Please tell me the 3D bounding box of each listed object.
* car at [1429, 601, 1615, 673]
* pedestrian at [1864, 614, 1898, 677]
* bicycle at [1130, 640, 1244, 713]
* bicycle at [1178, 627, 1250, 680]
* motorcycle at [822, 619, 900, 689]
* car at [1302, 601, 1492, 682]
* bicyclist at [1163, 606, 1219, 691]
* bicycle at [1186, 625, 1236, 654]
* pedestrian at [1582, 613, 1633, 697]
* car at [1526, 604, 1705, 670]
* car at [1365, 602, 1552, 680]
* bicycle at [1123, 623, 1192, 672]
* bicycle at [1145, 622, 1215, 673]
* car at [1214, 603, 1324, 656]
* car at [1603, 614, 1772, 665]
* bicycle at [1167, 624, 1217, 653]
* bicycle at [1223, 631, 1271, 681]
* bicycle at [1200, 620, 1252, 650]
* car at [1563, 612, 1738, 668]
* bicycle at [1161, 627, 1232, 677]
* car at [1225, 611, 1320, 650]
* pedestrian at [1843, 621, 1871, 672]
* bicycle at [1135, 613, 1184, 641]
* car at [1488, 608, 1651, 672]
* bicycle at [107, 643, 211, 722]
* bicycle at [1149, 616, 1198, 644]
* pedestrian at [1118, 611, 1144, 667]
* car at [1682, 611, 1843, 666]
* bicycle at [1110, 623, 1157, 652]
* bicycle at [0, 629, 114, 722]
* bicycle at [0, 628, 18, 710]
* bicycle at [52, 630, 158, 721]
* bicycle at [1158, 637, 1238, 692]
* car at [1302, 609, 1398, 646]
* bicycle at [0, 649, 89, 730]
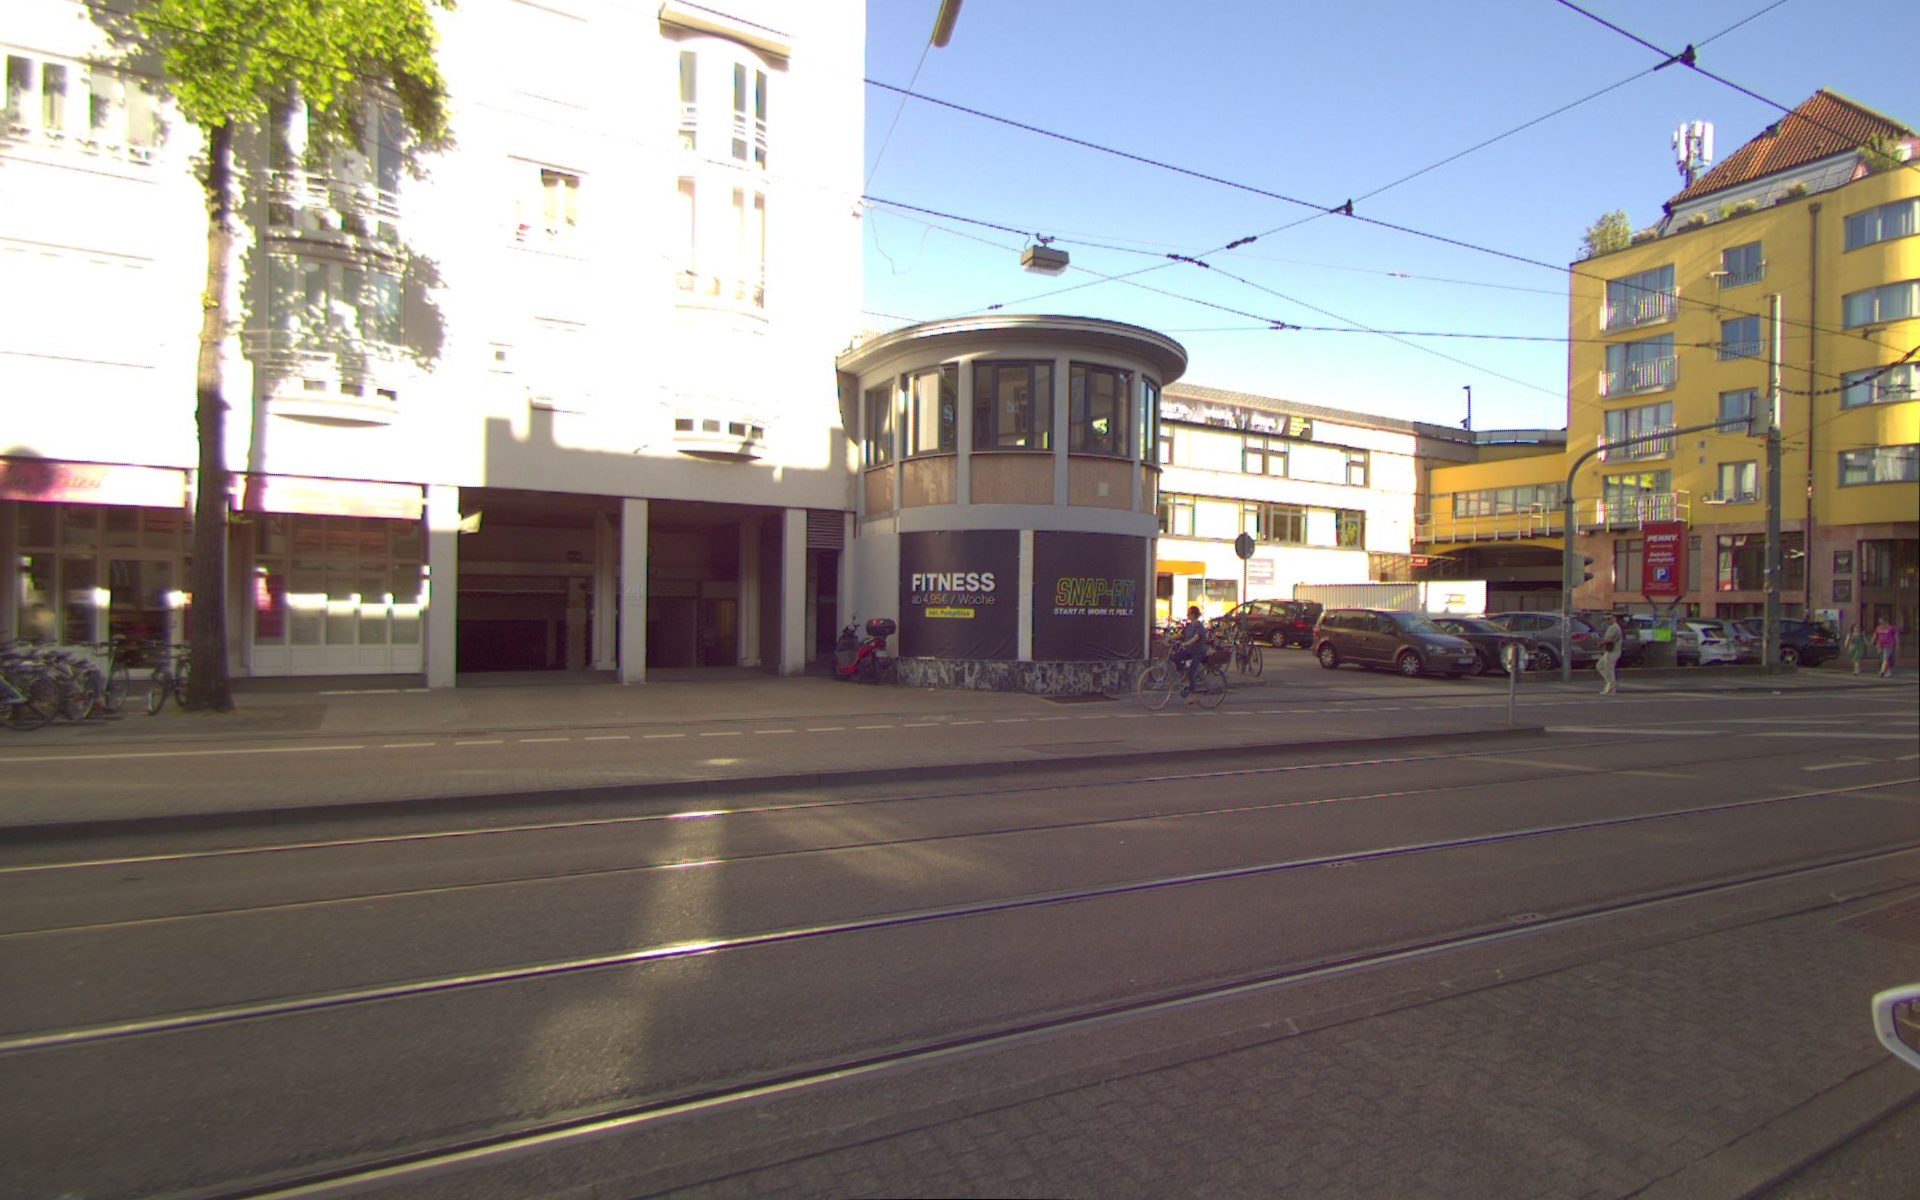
[{"bbox_3d":[15.465,0.956,27.863,1.764,1.836,4.214,1,-1,-29],"label":"car"},{"bbox_3d":[29.297,1.431,31.954,0.701,1.972,0.634,1,0,-31],"label":"pedestrian"},{"bbox_3d":[3.807,1.252,16.786,1.979,1.138,0.561,1,0,-29],"label":"bicycle"},{"bbox_3d":[5.506,1.137,21.741,1.862,1.094,0.460,1,0,-38],"label":"bicycle"},{"bbox_3d":[-1.980,1.034,19.898,0.668,1.280,1.969,0,0,-35],"label":"motorcycle"},{"bbox_3d":[11.018,0.982,25.639,1.764,1.787,4.214,1,1,-29],"label":"car"},{"bbox_3d":[3.868,0.801,16.816,0.710,1.379,0.560,1,0,-29],"label":"bicyclist"},{"bbox_3d":[9.040,1.406,36.158,2.040,1.028,0.510,1,-1,-33],"label":"bicycle"},{"bbox_3d":[14.264,1.191,22.122,0.773,1.787,0.708,1,-1,-37],"label":"pedestrian"},{"bbox_3d":[19.795,1.109,30.516,1.764,1.835,4.214,3,-2,-29],"label":"car"},{"bbox_3d":[13.125,1.009,26.720,1.764,1.836,4.214,1,0,-29],"label":"car"},{"bbox_3d":[4.596,1.083,23.311,1.862,1.091,0.460,1,0,-38],"label":"bicycle"},{"bbox_3d":[5.010,1.055,22.788,1.862,1.102,0.460,1,0,-38],"label":"bicycle"},{"bbox_3d":[11.013,1.022,36.044,1.677,1.772,3.559,1,0,-31],"label":"car"},{"bbox_3d":[24.118,1.293,33.460,1.764,1.568,4.214,3,-2,-29],"label":"car"},{"bbox_3d":[8.571,1.417,37.067,2.040,1.028,0.501,1,-1,-33],"label":"bicycle"},{"bbox_3d":[6.587,1.265,23.113,0.417,1.050,1.878,1,0,-5],"label":"bicycle"},{"bbox_3d":[9.316,1.220,35.145,2.040,1.028,0.506,1,0,-33],"label":"bicycle"},{"bbox_3d":[21.666,1.208,31.702,1.764,1.631,4.214,1,-1,-29],"label":"car"},{"bbox_3d":[5.255,1.128,22.253,1.862,1.050,0.460,1,0,-38],"label":"bicycle"},{"bbox_3d":[12.956,1.251,41.814,1.609,1.501,3.618,1,-1,-31],"label":"car"},{"bbox_3d":[29.193,1.502,32.697,0.493,1.639,0.569,1,0,-31],"label":"pedestrian"},{"bbox_3d":[7.679,1.034,38.609,2.040,1.028,0.501,1,0,-33],"label":"bicycle"},{"bbox_3d":[17.695,1.122,29.310,1.764,1.695,3.673,1,0,-29],"label":"car"},{"bbox_3d":[-10.909,1.090,13.737,0.561,0.944,1.746,1,-1,-20],"label":"bicycle"},{"bbox_3d":[8.076,1.130,37.957,2.040,1.028,0.492,1,0,-33],"label":"bicycle"},{"bbox_3d":[5.344,1.224,31.413,0.647,1.718,0.478,1,0,-32],"label":"pedestrian"},{"bbox_3d":[28.869,1.328,36.266,1.764,1.836,4.214,1,-1,-29],"label":"car"},{"bbox_3d":[6.346,1.381,36.733,1.802,1.028,0.366,1,0,-27],"label":"bicycle"},{"bbox_3d":[-11.856,0.955,13.245,0.458,1.091,1.870,1,0,-21],"label":"bicycle"},{"bbox_3d":[-12.920,0.926,12.928,0.458,1.091,1.870,1,0,-21],"label":"bicycle"},{"bbox_3d":[-11.331,0.962,13.373,0.458,1.091,1.870,1,0,-21],"label":"bicycle"},{"bbox_3d":[4.843,1.290,20.379,1.862,1.050,0.520,1,0,-38],"label":"bicycle"},{"bbox_3d":[16.606,1.138,42.903,1.677,1.499,3.559,0,0,-31],"label":"car"},{"bbox_3d":[-11.583,1.062,11.982,1.727,0.944,0.469,1,0,-21],"label":"bicycle"}]
